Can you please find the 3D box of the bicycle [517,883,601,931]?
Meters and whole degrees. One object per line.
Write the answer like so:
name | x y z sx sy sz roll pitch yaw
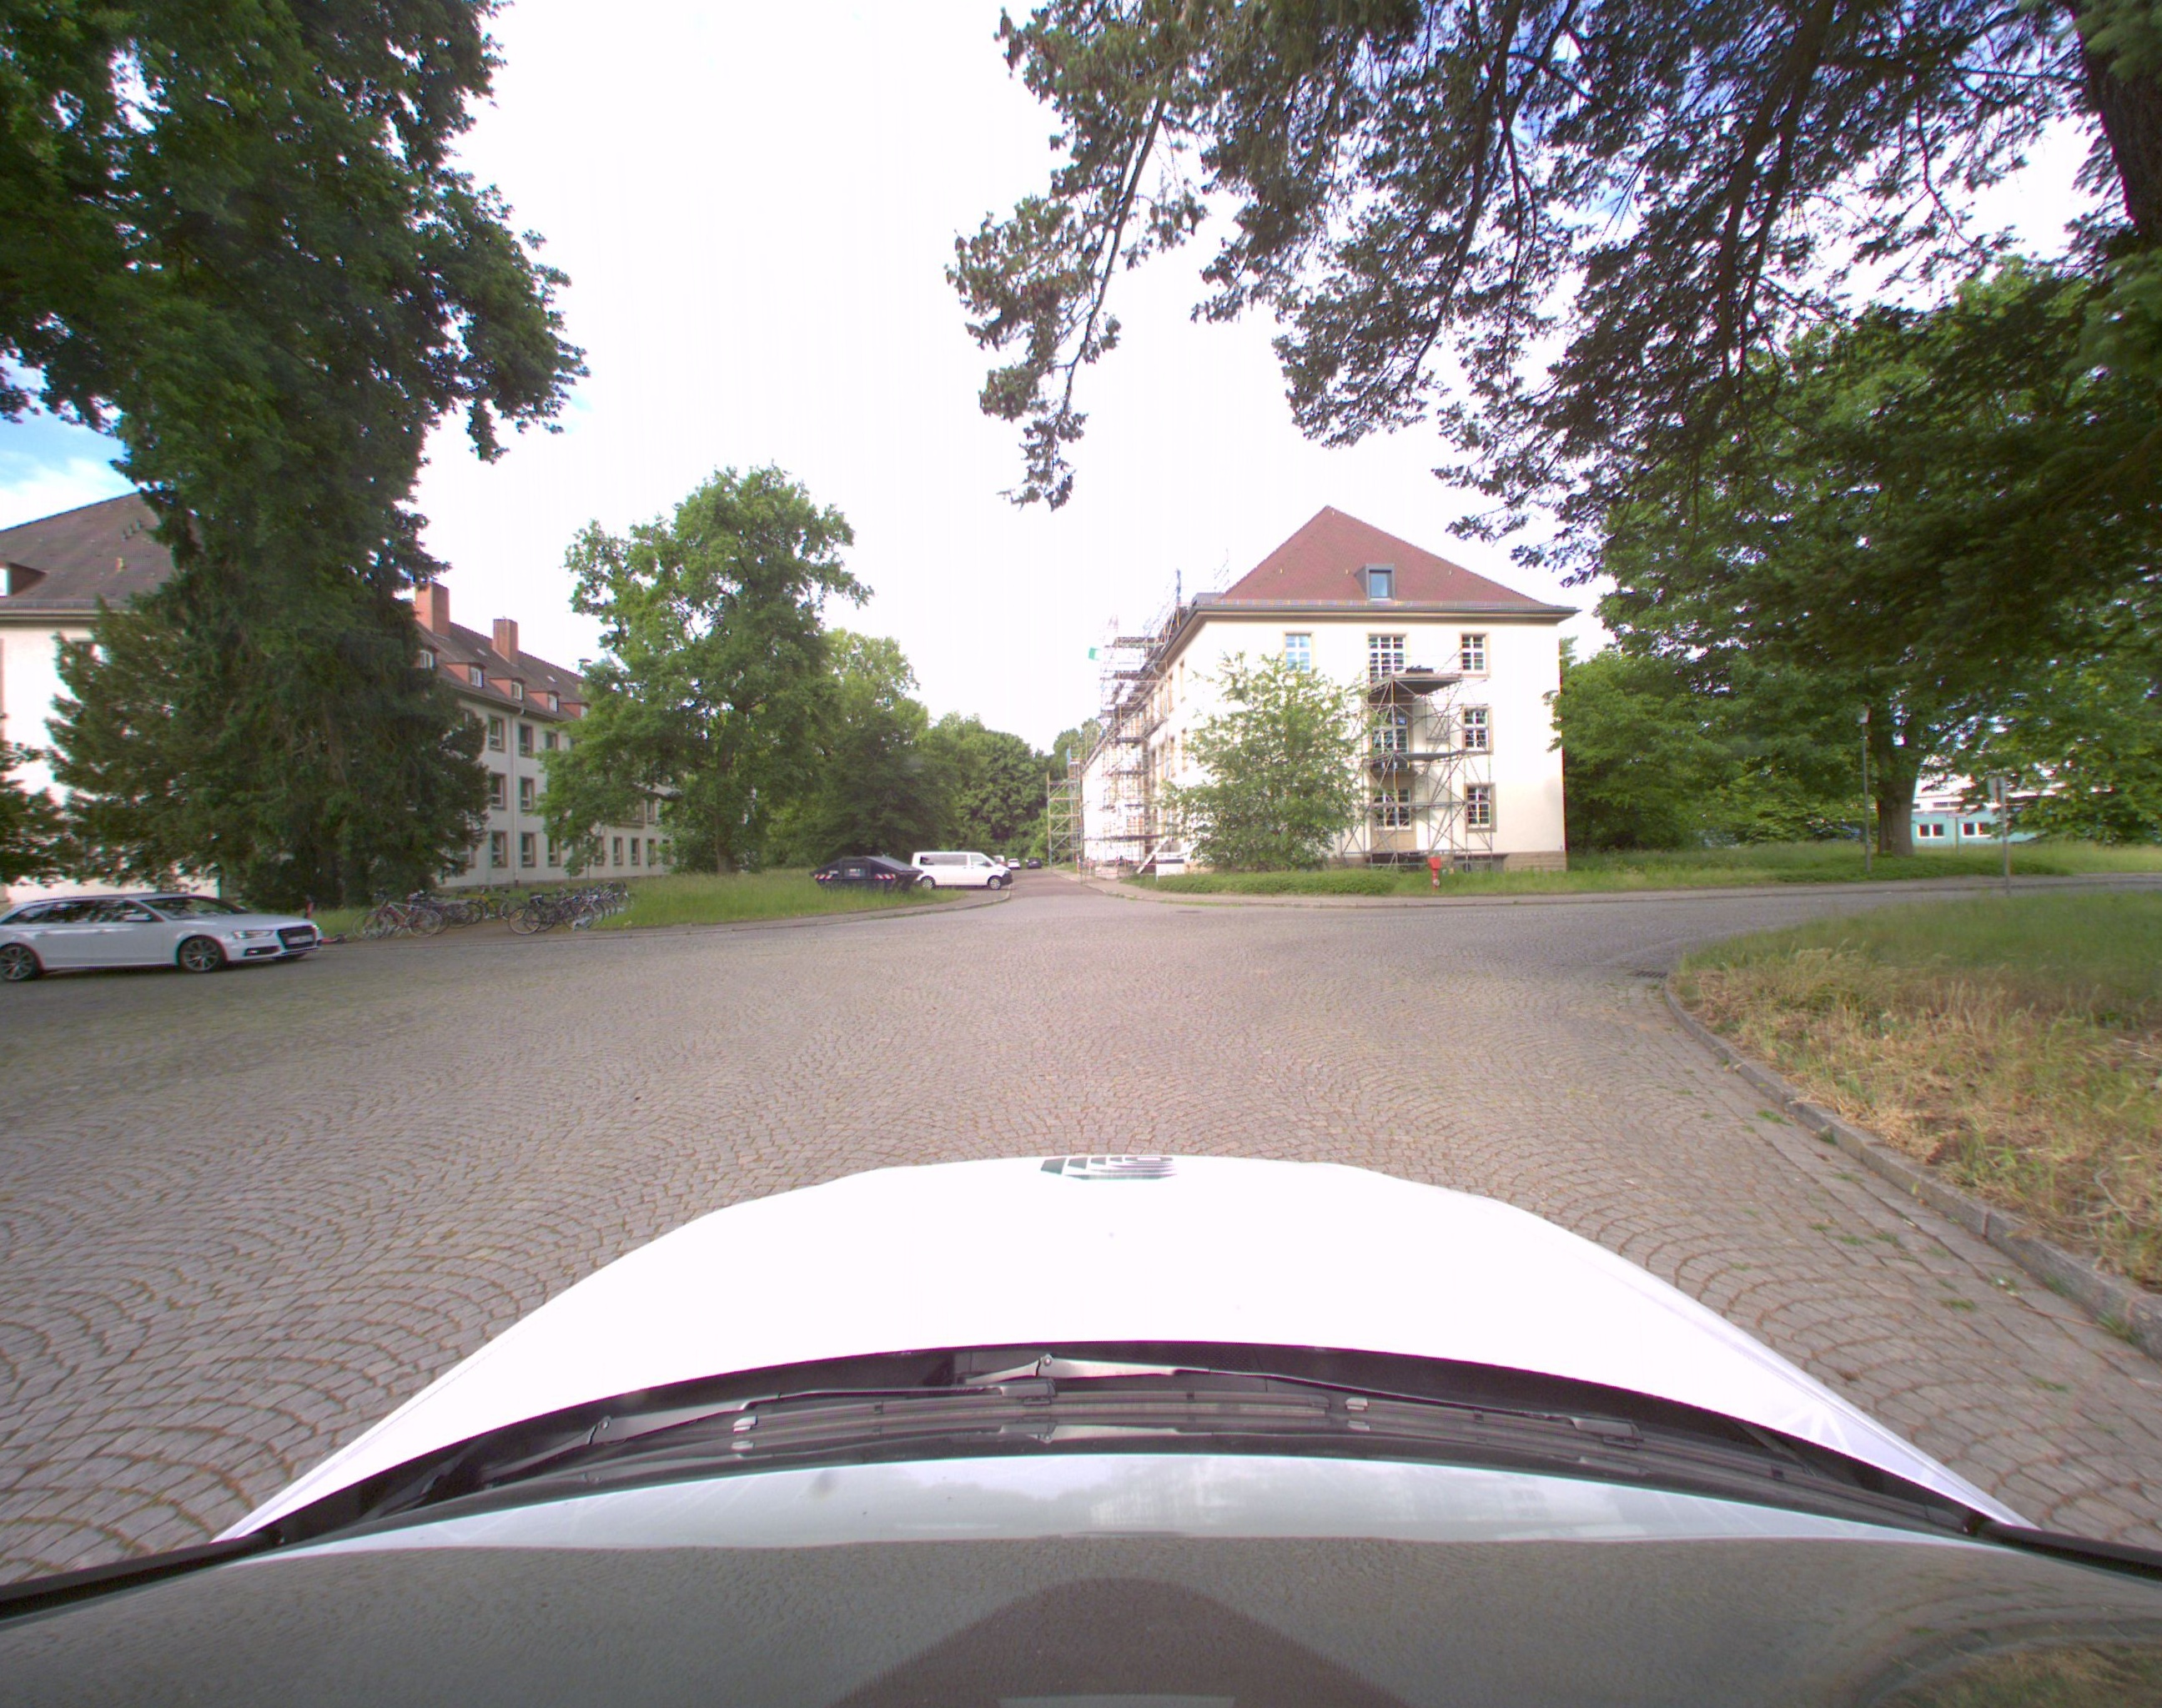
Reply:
bicycle | -14.176 1.423 22.176 1.776 1.103 0.697 -3 2 -24

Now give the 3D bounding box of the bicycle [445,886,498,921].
bicycle | -19.679 1.586 26.326 1.265 1.029 0.430 -3 -2 -24

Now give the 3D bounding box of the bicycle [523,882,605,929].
bicycle | -14.467 1.426 22.845 1.802 1.103 0.697 -3 2 -24

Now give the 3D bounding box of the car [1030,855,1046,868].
car | -5.724 1.029 108.462 2.058 1.593 3.996 1 -1 -2

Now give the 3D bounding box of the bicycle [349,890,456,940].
bicycle | -17.608 1.571 21.195 1.994 1.114 0.639 -2 2 -24

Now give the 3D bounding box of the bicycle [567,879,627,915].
bicycle | -16.122 1.414 27.164 1.624 1.058 0.522 -3 2 -24

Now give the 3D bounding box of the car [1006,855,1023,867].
car | -8.842 0.989 107.836 2.000 1.548 3.948 1 -1 -7

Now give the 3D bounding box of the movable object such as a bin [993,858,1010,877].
movable object such as a bin | -5.998 0.987 61.532 1.181 1.407 0.974 1 -1 -4

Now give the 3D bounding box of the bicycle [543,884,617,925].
bicycle | -14.510 1.447 23.618 1.699 1.001 0.627 -3 2 -24

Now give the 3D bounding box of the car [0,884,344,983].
car | -16.746 1.395 14.819 4.684 1.437 1.851 -2 1 -6

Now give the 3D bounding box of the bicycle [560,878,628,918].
bicycle | -15.628 1.408 26.183 1.779 1.105 0.537 -3 2 -24

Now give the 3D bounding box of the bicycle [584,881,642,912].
bicycle | -15.949 1.450 27.810 1.624 0.910 0.522 -3 2 -24

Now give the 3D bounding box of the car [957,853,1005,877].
car | -8.522 0.934 69.287 3.986 2.014 1.915 1 -1 -9

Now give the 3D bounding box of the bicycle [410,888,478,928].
bicycle | -18.796 1.580 24.062 1.523 1.035 0.539 -2 2 -35

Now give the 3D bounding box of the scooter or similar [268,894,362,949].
scooter or similar | -18.425 1.609 19.615 1.543 1.195 0.682 -2 1 -2

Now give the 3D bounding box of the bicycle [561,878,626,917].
bicycle | -15.931 1.397 26.649 1.704 1.116 0.537 -3 2 -24

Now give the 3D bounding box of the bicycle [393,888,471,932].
bicycle | -18.122 1.552 22.767 1.636 1.073 0.534 -2 2 -35

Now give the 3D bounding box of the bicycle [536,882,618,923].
bicycle | -15.012 1.433 24.317 1.963 1.004 0.681 -3 2 -24

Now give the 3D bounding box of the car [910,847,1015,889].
car | -6.032 0.695 41.956 5.194 2.060 2.183 -1 -1 -6

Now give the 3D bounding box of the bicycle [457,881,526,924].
bicycle | -18.207 1.477 25.211 1.649 1.185 0.569 -2 2 -31

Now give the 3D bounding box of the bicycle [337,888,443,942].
bicycle | -17.390 1.515 20.556 1.904 1.222 0.639 -1 2 -24

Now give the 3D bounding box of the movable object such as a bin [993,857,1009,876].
movable object such as a bin | -5.938 0.948 60.422 1.181 1.407 0.974 1 -1 -4
